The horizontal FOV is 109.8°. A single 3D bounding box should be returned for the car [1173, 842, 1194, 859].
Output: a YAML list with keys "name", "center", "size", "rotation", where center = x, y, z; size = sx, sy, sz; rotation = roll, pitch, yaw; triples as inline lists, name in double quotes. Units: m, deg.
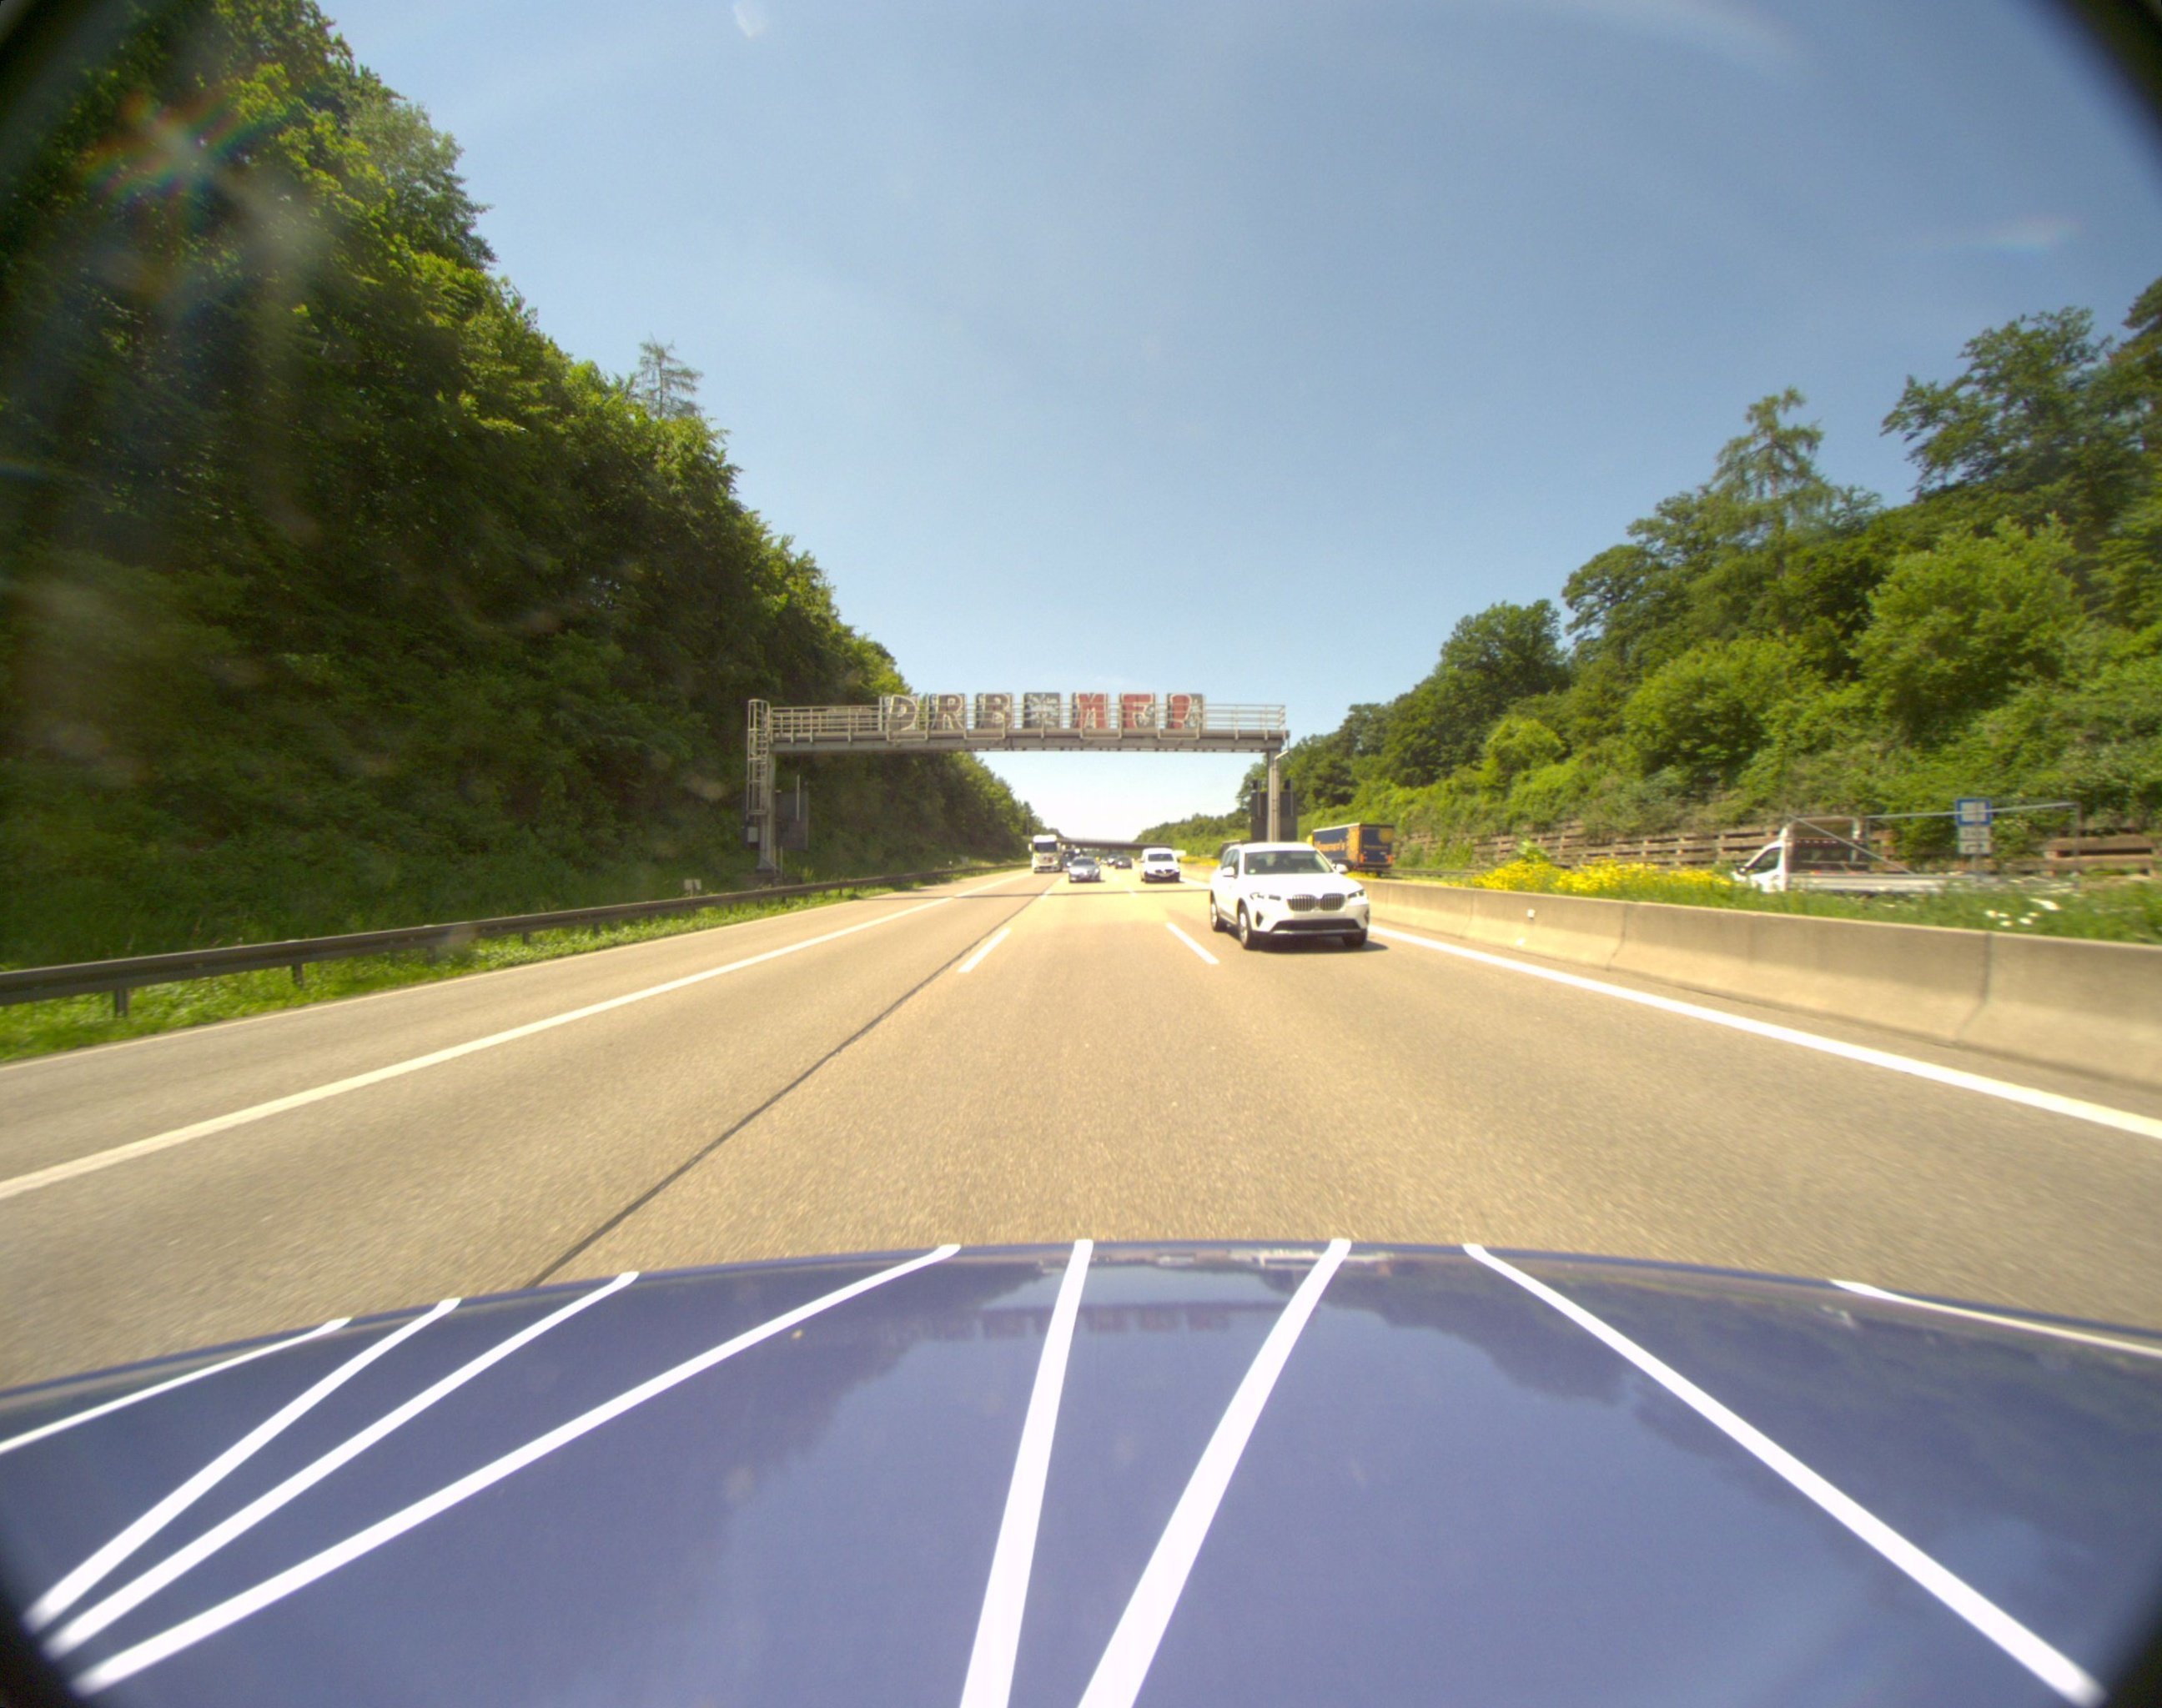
- name: "car"
  center: [17.040, -0.544, 126.272]
  size: [2.761, 2.658, 5.684]
  rotation: [0, 0, 0]

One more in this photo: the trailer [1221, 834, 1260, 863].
- name: "trailer"
  center: [23.845, -0.784, 114.406]
  size: [2.985, 4.077, 13.993]
  rotation: [1, 0, 1]

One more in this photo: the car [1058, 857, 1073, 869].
- name: "car"
  center: [-2.100, 1.234, 104.511]
  size: [1.770, 1.504, 4.000]
  rotation: [-3, 0, 0]

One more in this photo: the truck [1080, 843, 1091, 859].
- name: "truck"
  center: [1.277, -0.852, 210.269]
  size: [2.627, 4.365, 13.086]
  rotation: [-3, 0, 0]

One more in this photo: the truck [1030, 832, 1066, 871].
- name: "truck"
  center: [-3.187, -0.256, 77.772]
  size: [2.844, 3.518, 13.086]
  rotation: [-3, 0, 0]

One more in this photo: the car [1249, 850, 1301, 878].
- name: "car"
  center: [11.854, 0.579, 46.777]
  size: [2.008, 1.595, 4.713]
  rotation: [0, 0, 0]

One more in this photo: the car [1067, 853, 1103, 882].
- name: "car"
  center: [0.265, 0.731, 43.695]
  size: [1.843, 1.518, 4.501]
  rotation: [-3, 0, 2]

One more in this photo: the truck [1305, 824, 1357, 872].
- name: "truck"
  center: [22.940, -0.510, 70.093]
  size: [2.957, 4.178, 6.459]
  rotation: [1, 1, 3]

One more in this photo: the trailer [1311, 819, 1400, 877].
- name: "trailer"
  center: [22.531, -0.487, 63.510]
  size: [2.985, 4.183, 14.467]
  rotation: [1, 0, 4]

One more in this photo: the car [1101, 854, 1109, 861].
- name: "car"
  center: [5.487, 0.697, 173.550]
  size: [1.770, 1.504, 4.000]
  rotation: [-3, 0, 0]

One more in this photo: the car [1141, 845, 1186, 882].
- name: "car"
  center: [4.313, 0.445, 40.473]
  size: [1.998, 1.764, 4.501]
  rotation: [-3, 0, 2]

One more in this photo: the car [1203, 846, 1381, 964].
- name: "car"
  center: [3.396, 0.735, 13.134]
  size: [1.850, 1.634, 4.368]
  rotation: [-2, 0, 0]

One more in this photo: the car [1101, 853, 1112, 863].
- name: "car"
  center: [4.886, 0.729, 143.881]
  size: [1.924, 1.849, 4.000]
  rotation: [-3, 0, 2]

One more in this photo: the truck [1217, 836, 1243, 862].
- name: "truck"
  center: [23.947, -0.793, 122.555]
  size: [2.941, 4.036, 5.868]
  rotation: [1, 1, 1]

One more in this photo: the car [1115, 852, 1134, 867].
- name: "car"
  center: [4.773, 0.536, 83.011]
  size: [1.770, 1.504, 4.725]
  rotation: [-3, 0, 0]

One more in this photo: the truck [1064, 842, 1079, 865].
- name: "truck"
  center: [-1.784, -0.141, 149.612]
  size: [2.627, 4.365, 13.086]
  rotation: [-3, 0, 0]

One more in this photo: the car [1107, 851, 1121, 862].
- name: "car"
  center: [4.707, 0.336, 108.316]
  size: [1.770, 1.504, 4.000]
  rotation: [-3, 0, 0]

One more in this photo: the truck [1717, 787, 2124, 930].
- name: "truck"
  center: [20.466, 0.094, 19.383]
  size: [2.586, 2.975, 7.062]
  rotation: [0, 0, 0]

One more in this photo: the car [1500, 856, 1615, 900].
- name: "car"
  center: [18.648, 0.877, 29.980]
  size: [1.804, 1.594, 4.371]
  rotation: [0, 0, 0]

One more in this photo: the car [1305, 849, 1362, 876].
- name: "car"
  center: [16.080, 0.523, 48.659]
  size: [2.008, 1.595, 4.862]
  rotation: [0, 0, 0]
